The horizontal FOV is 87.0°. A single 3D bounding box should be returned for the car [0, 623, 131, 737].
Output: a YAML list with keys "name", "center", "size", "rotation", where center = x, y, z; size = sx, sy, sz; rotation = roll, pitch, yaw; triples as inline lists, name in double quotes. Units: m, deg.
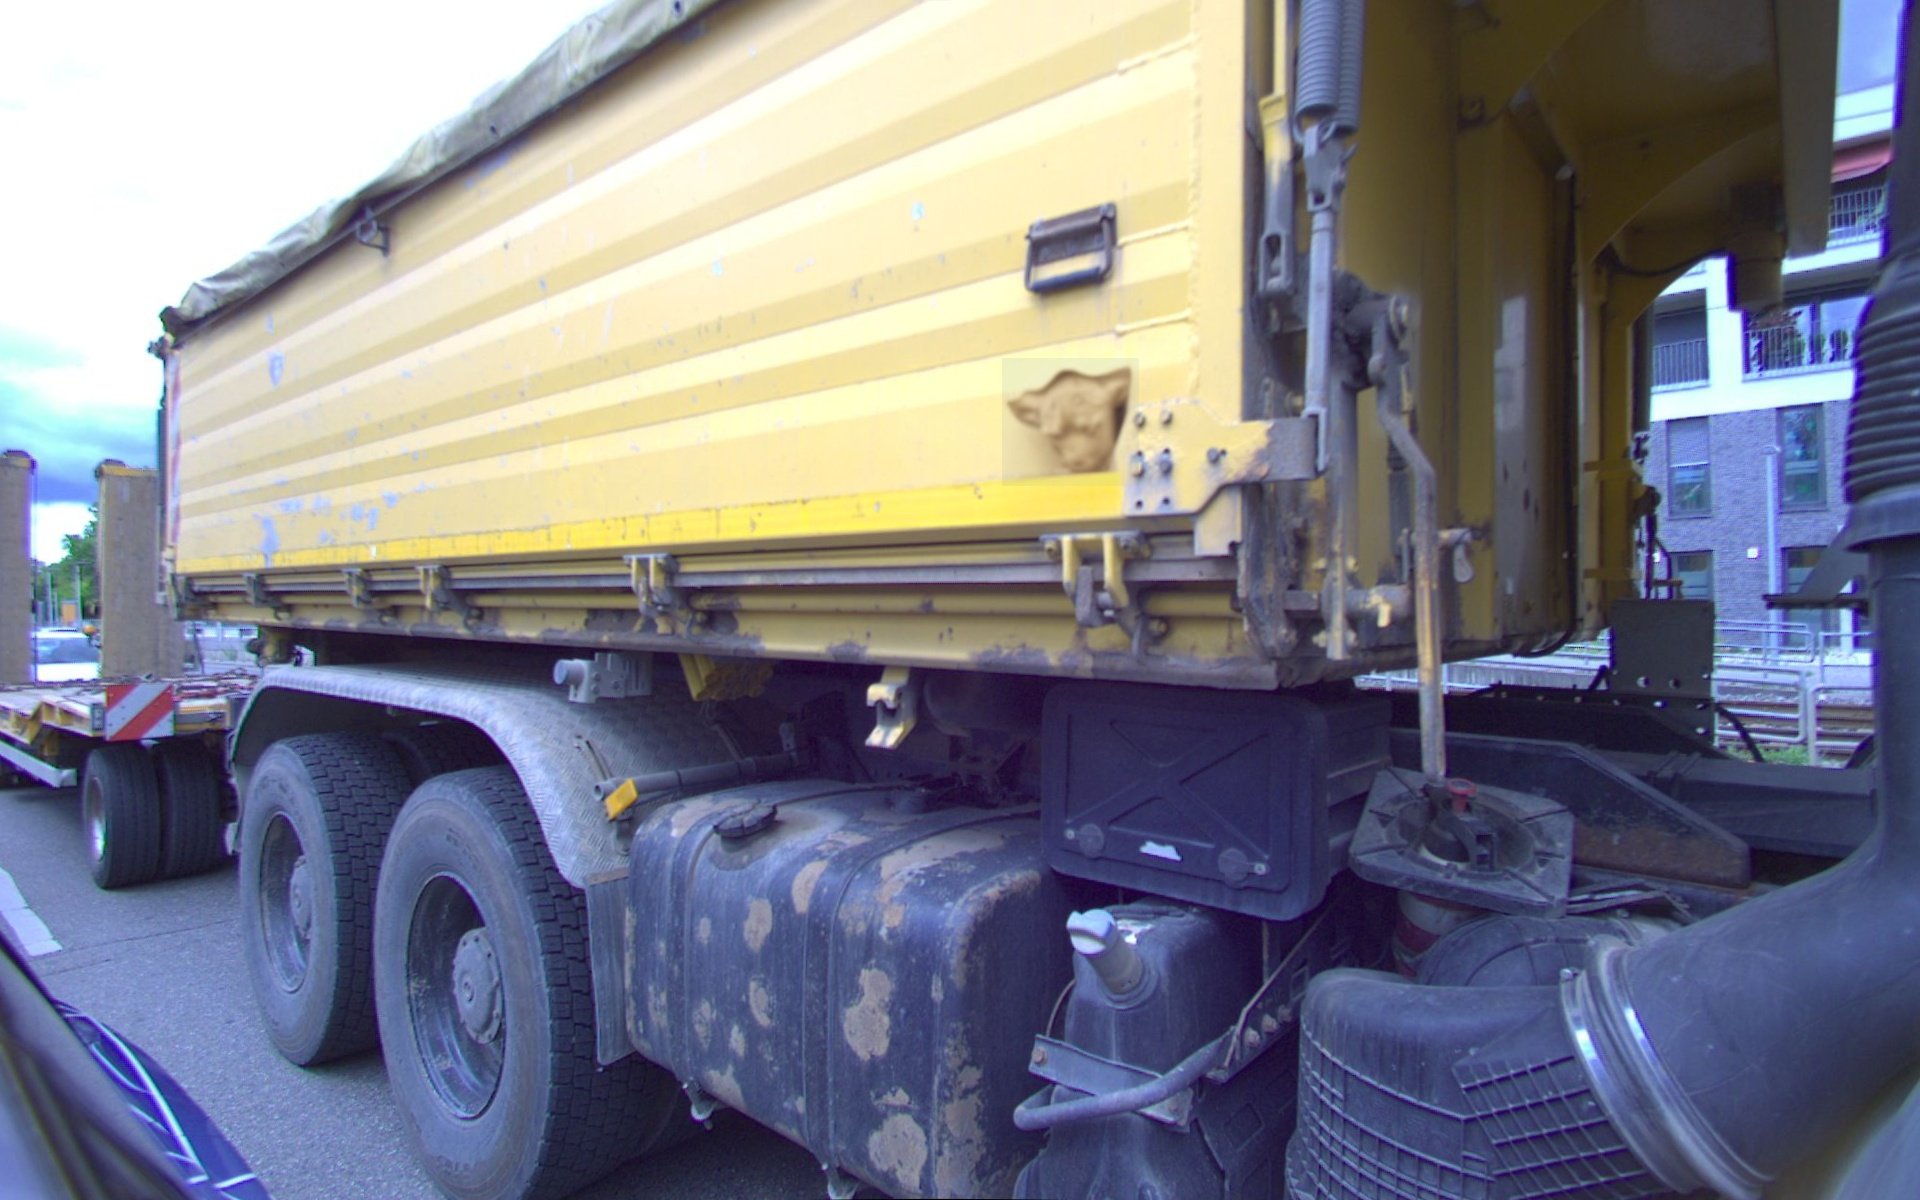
- name: "car"
  center: [-14.204, 1.138, 15.531]
  size: [3.998, 1.490, 1.671]
  rotation: [-1, 0, 41]

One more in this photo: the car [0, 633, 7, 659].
- name: "car"
  center: [-55.765, 2.657, 57.749]
  size: [3.564, 1.469, 1.683]
  rotation: [-2, -1, 41]

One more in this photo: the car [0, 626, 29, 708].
- name: "car"
  center: [-19.590, 1.283, 19.755]
  size: [3.998, 1.490, 1.671]
  rotation: [-1, 0, 41]

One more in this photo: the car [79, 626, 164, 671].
- name: "car"
  center: [-30.040, 1.700, 36.225]
  size: [4.042, 1.480, 1.758]
  rotation: [-2, -1, 42]

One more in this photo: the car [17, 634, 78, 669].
- name: "car"
  center: [-40.847, 2.281, 45.269]
  size: [4.279, 1.452, 1.742]
  rotation: [-2, -1, 44]

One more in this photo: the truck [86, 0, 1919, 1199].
- name: "truck"
  center: [0.155, -0.031, 2.680]
  size: [7.775, 3.026, 2.692]
  rotation: [-1, 0, 41]

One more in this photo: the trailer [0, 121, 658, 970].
- name: "trailer"
  center: [-6.863, -0.133, 8.848]
  size: [10.909, 3.548, 2.678]
  rotation: [-2, -1, 41]
